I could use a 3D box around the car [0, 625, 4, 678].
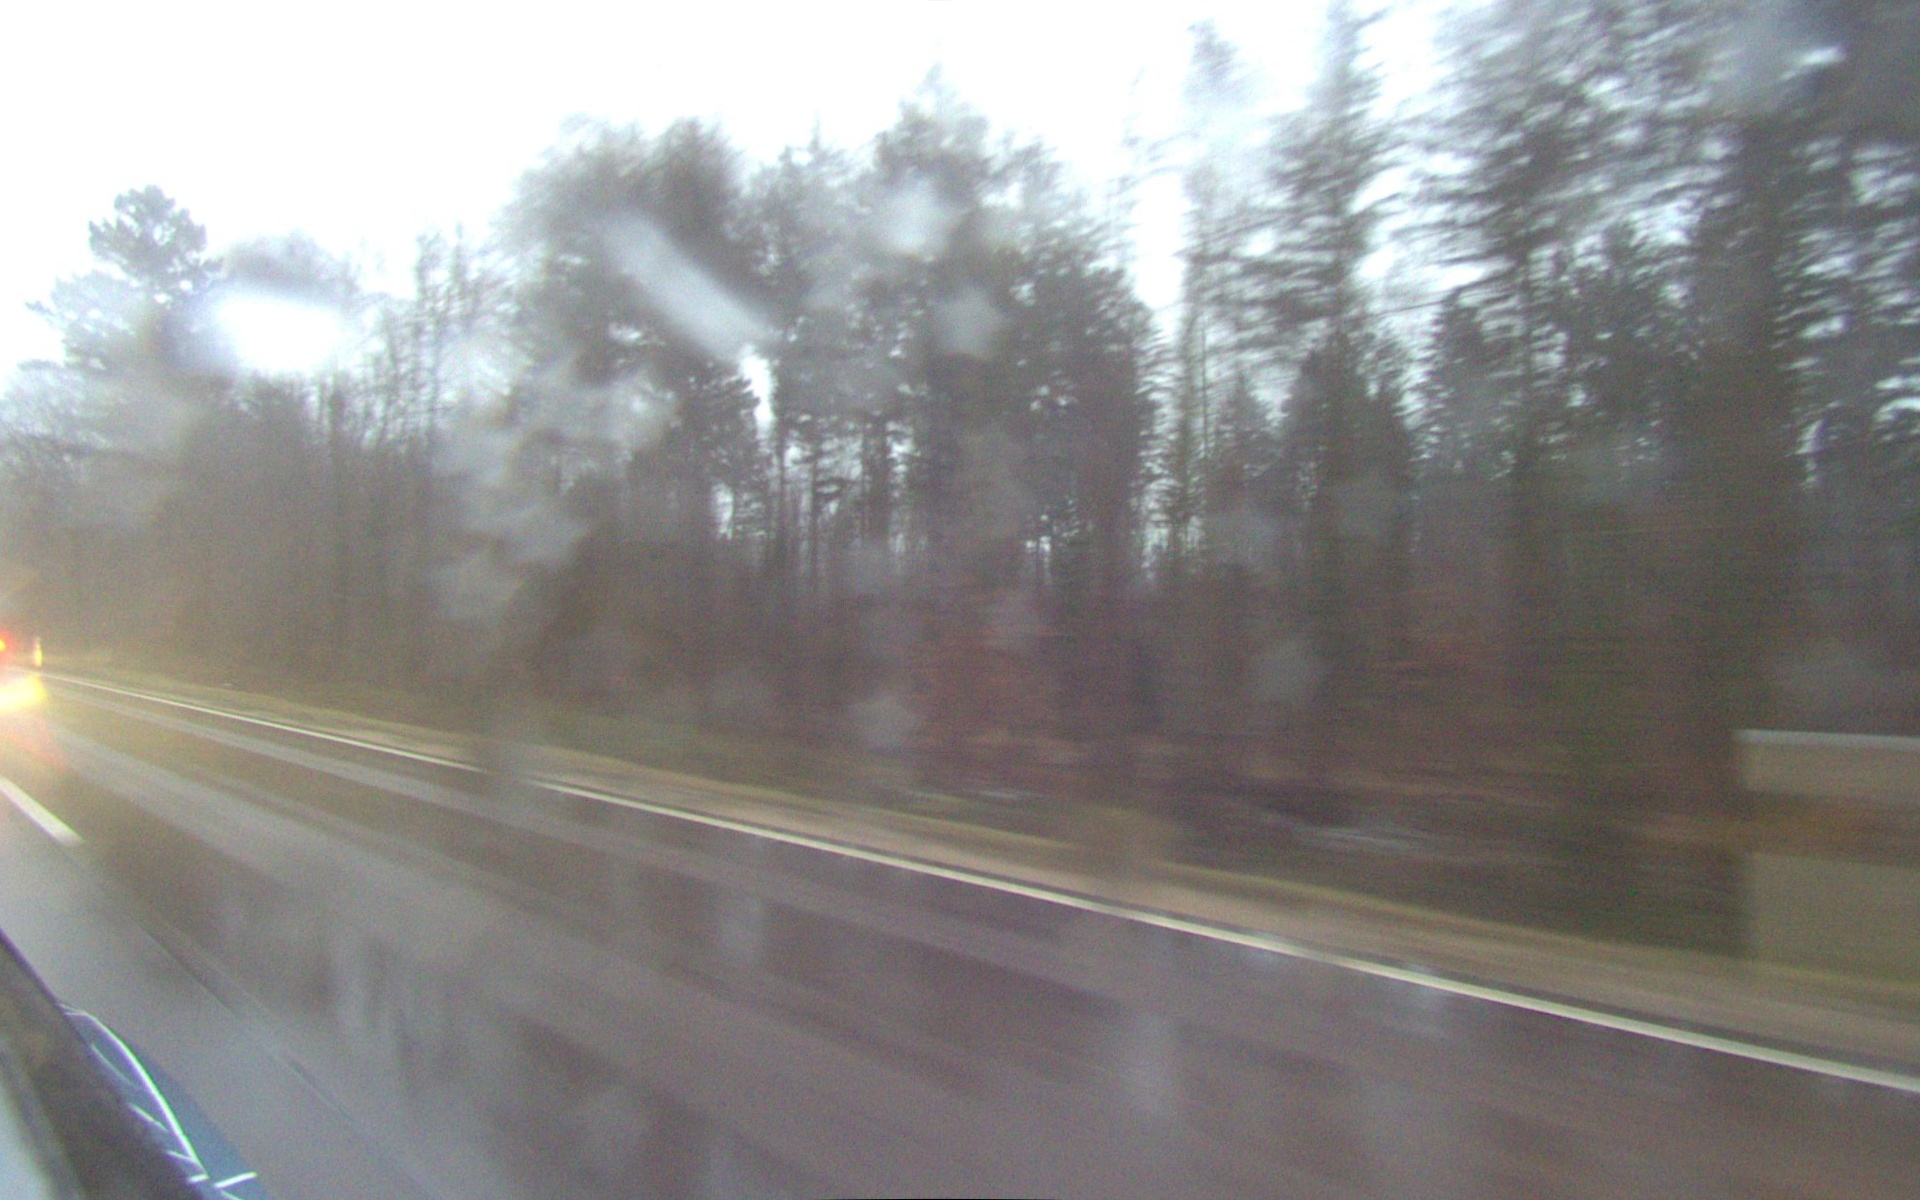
[{"bbox_3d":[-28.928,1.441,29.037,4.175,1.472,1.780,-1,-3,42],"label":"car"}]
